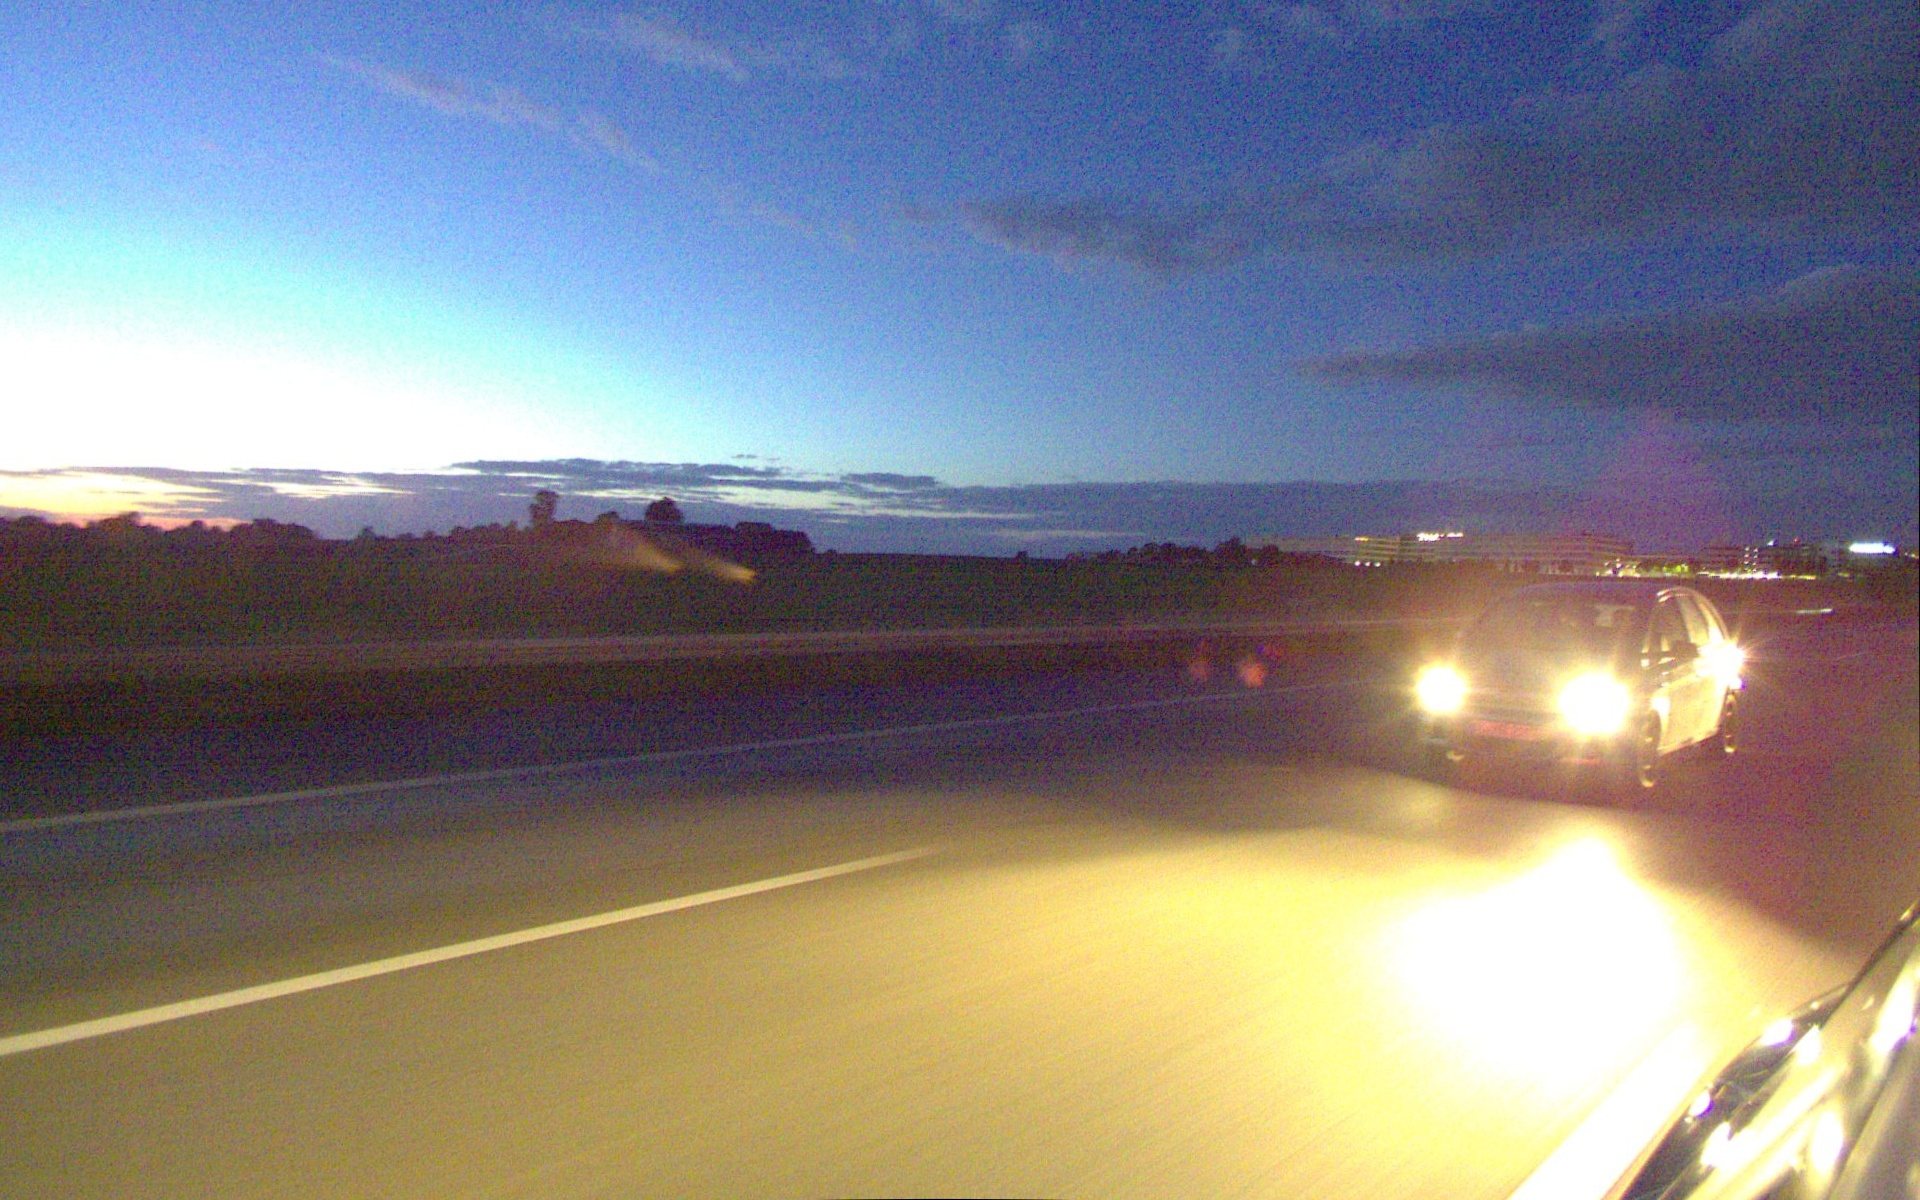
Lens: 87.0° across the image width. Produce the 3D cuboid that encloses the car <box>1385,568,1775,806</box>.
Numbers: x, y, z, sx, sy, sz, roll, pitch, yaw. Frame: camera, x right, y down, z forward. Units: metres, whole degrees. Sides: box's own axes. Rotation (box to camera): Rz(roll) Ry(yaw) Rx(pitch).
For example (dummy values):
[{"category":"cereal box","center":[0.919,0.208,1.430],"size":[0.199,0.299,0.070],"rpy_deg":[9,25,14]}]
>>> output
[{"category":"car","center":[5.656,0.574,8.981],"size":[4.430,1.616,1.649],"rpy_deg":[0,1,-41]}]
